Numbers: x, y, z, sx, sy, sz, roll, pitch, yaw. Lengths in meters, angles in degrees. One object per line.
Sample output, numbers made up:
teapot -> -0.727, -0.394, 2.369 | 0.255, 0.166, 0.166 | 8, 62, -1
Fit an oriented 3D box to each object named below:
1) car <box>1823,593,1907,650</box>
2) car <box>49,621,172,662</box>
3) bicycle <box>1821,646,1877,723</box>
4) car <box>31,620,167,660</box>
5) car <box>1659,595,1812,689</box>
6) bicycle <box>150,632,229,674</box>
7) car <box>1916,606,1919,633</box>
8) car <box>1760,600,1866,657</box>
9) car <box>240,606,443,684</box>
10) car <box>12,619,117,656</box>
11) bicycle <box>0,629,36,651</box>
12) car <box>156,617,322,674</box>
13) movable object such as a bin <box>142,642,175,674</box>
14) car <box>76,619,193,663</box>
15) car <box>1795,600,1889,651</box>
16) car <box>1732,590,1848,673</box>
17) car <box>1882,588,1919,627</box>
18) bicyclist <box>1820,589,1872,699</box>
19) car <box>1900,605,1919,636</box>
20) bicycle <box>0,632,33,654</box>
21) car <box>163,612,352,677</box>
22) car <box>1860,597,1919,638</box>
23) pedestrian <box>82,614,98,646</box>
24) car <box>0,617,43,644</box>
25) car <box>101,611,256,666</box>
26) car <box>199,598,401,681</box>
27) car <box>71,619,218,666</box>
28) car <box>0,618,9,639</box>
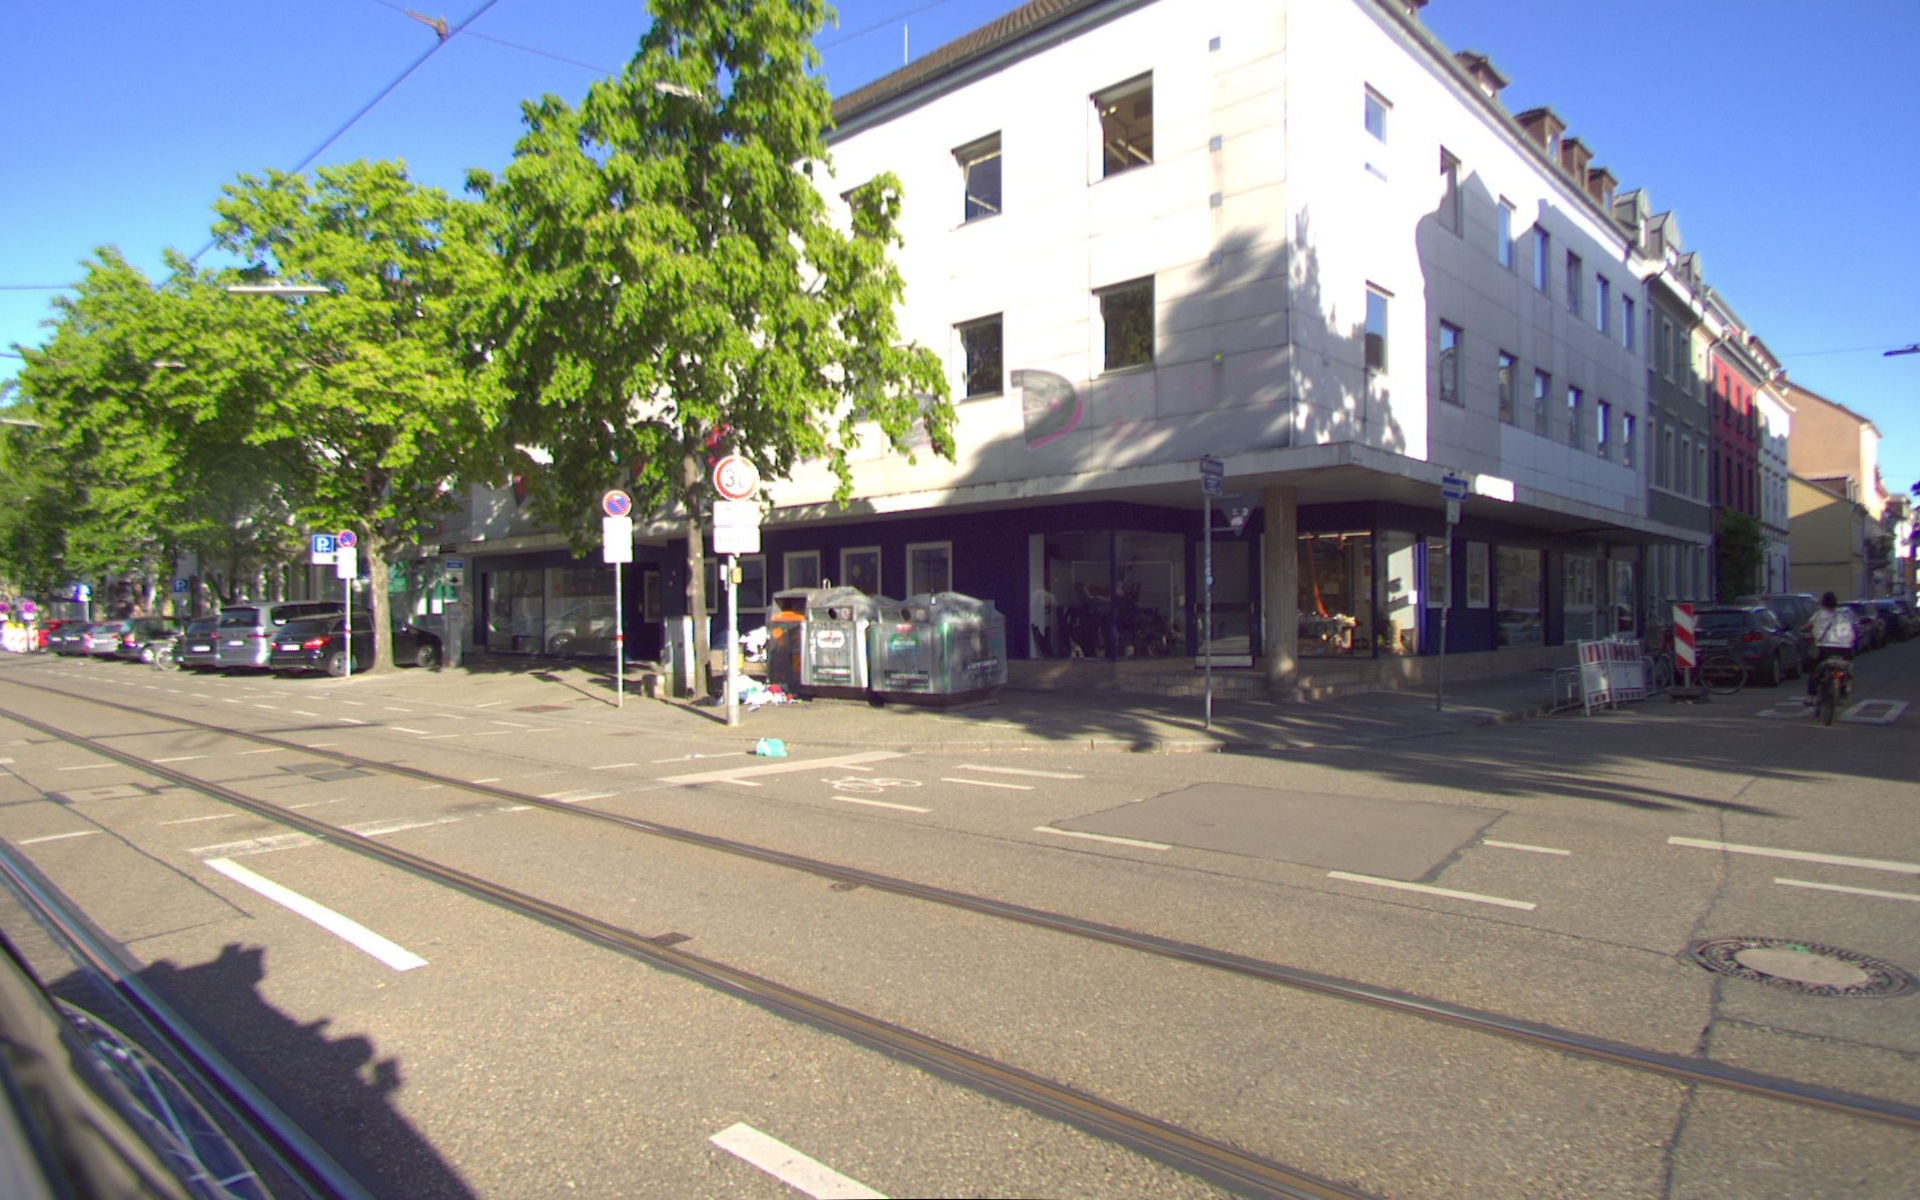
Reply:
car -> 29.876, 0.685, 33.382 | 3.940, 1.763, 1.739 | 0, -1, -44
car -> -35.350, 1.698, 42.233 | 1.734, 1.481, 3.672 | -1, 1, 11
bicycle -> 11.569, 1.064, 13.153 | 0.451, 0.888, 1.874 | -2, -2, 44
car -> -37.280, 1.688, 43.968 | 1.924, 1.502, 4.186 | -2, 0, 13
car -> 15.410, 0.764, 20.040 | 3.939, 1.596, 1.718 | -2, 0, -42
bicycle -> -23.870, 1.631, 31.388 | 0.489, 1.153, 1.958 | -1, 1, 21
car -> 65.353, 1.276, 67.865 | 1.739, 1.763, 3.942 | -2, -1, 44
car -> 23.128, 0.731, 27.388 | 3.940, 1.431, 1.753 | 0, -1, -44
car -> -15.691, 1.091, 25.971 | 1.894, 1.679, 4.275 | -1, 1, 15
car -> -44.447, 1.836, 50.319 | 1.652, 1.565, 3.609 | -3, 0, 14
bicycle -> -52.039, 2.204, 55.457 | 0.567, 1.095, 1.982 | -2, 3, 42
car -> -22.084, 1.367, 31.183 | 1.828, 1.487, 3.847 | -1, 1, 17
movable object such as a bin -> -24.592, 1.772, 31.048 | 0.572, 0.920, 0.573 | -2, 0, 24
car -> -32.965, 1.613, 40.508 | 1.596, 1.504, 3.361 | -2, 0, 12
car -> 26.582, 0.729, 30.462 | 3.940, 1.431, 1.753 | 0, -1, -44
car -> 19.528, 0.699, 23.760 | 3.940, 1.785, 1.608 | 0, -1, -43
car -> 45.094, 0.357, 48.028 | 3.940, 1.763, 1.739 | 0, -1, -44
bicyclist -> 11.543, 0.559, 13.182 | 0.459, 1.388, 0.631 | -2, -2, 44
car -> 54.522, 1.136, 57.348 | 1.739, 1.763, 3.942 | -2, -1, 44
bicycle -> -52.992, 2.411, 56.379 | 0.568, 1.087, 1.947 | -2, 1, 42
car -> -19.847, 1.194, 28.829 | 1.796, 1.698, 4.222 | -1, -1, 19
car -> 37.104, 0.692, 40.322 | 3.559, 1.571, 1.550 | 0, -1, -44
pedestrian -> -51.207, 1.746, 59.576 | 0.624, 1.852, 0.637 | -2, -2, 41
car -> -59.003, 1.872, 62.021 | 1.565, 1.621, 3.868 | -1, -1, 26
car -> -28.118, 1.351, 36.537 | 1.838, 1.690, 4.066 | -1, 1, 37
car -> -17.814, 0.994, 27.591 | 1.933, 2.001, 4.343 | -1, 1, 18
car -> -30.864, 1.578, 38.481 | 1.823, 1.524, 4.100 | -2, 0, 13
car -> -69.937, 2.031, 71.479 | 1.872, 1.541, 3.623 | -1, -1, 20
